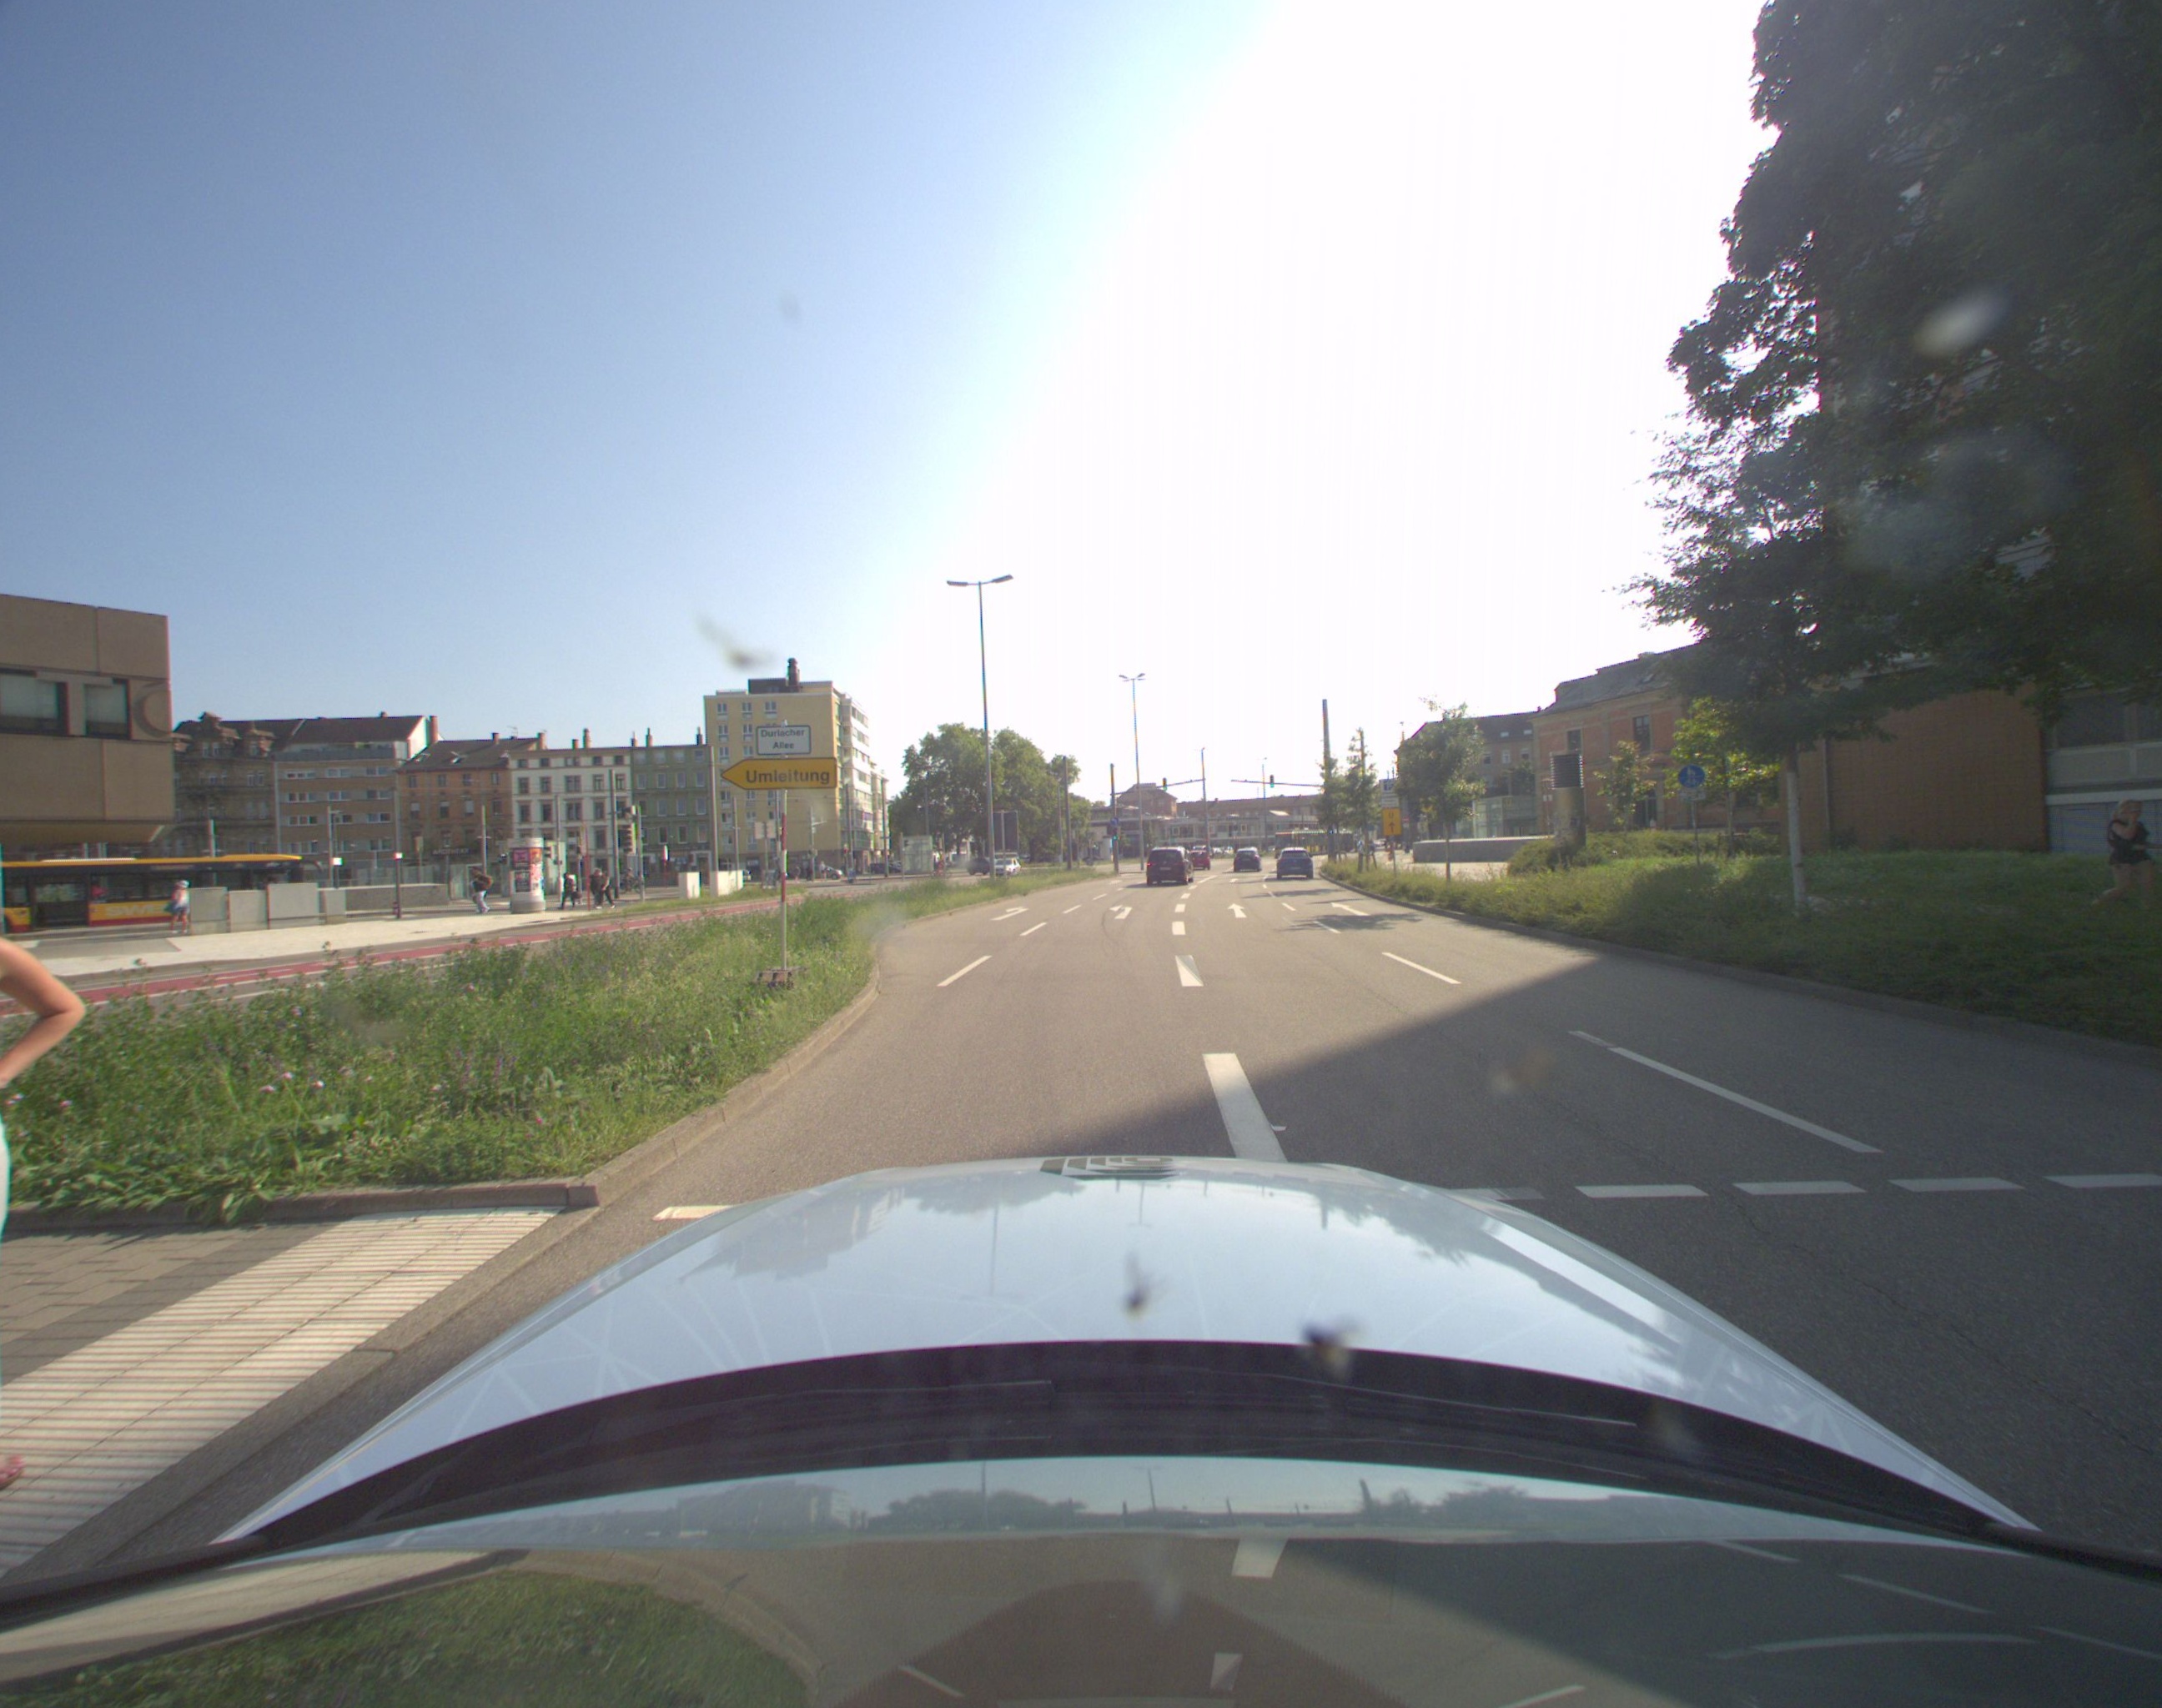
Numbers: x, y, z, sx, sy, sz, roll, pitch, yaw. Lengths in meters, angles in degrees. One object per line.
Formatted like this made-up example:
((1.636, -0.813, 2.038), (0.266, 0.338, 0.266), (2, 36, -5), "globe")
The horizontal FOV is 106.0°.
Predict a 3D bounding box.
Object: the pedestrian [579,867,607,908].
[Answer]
((-21.835, 1.500, 36.443), (0.774, 1.800, 0.702), (-3, 0, 5), "pedestrian")

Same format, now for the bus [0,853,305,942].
((-40.391, 1.743, 33.271), (2.681, 3.108, 12.292), (-3, 0, 40), "bus")

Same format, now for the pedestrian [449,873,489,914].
((-24.256, 1.565, 32.286), (0.977, 1.563, 0.871), (-3, 0, 26), "pedestrian")

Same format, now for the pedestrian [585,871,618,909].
((-20.746, 1.555, 35.246), (0.995, 1.559, 0.855), (-2, -1, -43), "pedestrian")

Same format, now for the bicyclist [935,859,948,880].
((-11.325, 1.284, 66.191), (0.878, 1.652, 0.726), (-2, 0, 1), "bicyclist")

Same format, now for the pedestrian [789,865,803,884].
((-26.695, 1.888, 76.276), (0.920, 1.690, 0.921), (-2, 0, -5), "pedestrian")

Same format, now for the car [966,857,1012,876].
((-8.619, 1.192, 76.111), (4.404, 1.617, 1.710), (-3, 0, 40), "car")

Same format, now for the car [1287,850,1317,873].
((15.061, 0.470, 55.592), (1.812, 1.428, 4.429), (-3, 0, 14), "car")

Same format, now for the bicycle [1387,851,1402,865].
((24.216, 0.301, 62.959), (0.712, 0.959, 1.934), (-3, 0, 31), "bicycle")

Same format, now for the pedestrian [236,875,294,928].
((-27.470, 1.593, 27.434), (0.984, 1.705, 0.866), (-3, 0, -1), "pedestrian")

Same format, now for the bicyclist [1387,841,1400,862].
((24.151, -0.194, 62.902), (0.712, 1.513, 1.011), (-3, 0, 31), "bicyclist")

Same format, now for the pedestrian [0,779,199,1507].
((-2.801, 0.668, 1.979), (0.660, 1.654, 0.784), (-3, 0, 37), "pedestrian")

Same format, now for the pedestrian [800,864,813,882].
((-25.610, 1.773, 76.084), (0.920, 1.690, 0.921), (-2, 0, -5), "pedestrian")

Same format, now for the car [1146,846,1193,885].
((4.201, 0.481, 38.097), (1.814, 1.714, 4.426), (-1, 0, 11), "car")

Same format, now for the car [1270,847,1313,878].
((10.854, 0.393, 42.301), (1.814, 1.428, 4.426), (-3, 0, 11), "car")

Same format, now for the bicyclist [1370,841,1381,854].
((38.346, -0.816, 105.994), (0.934, 1.680, 1.089), (-2, 0, -11), "bicyclist")

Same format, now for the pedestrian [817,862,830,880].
((-24.060, 1.581, 76.174), (0.920, 1.690, 0.921), (-2, 0, -5), "pedestrian")

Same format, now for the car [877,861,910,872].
((-25.688, 1.743, 111.672), (4.152, 1.354, 1.574), (-2, 0, -7), "car")

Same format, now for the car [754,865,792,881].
((-34.569, 2.137, 91.278), (4.492, 1.678, 2.013), (-2, 0, 41), "car")

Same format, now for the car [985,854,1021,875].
((-5.769, 0.786, 60.743), (1.804, 1.433, 4.232), (-3, 0, 6), "car")

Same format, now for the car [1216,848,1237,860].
((20.454, -0.038, 114.316), (1.599, 1.475, 4.024), (-5, -1, 27), "car")

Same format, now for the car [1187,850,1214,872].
((9.309, 0.484, 62.983), (1.814, 1.535, 4.426), (-3, 0, 11), "car")

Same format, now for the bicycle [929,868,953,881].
((-11.353, 1.662, 66.184), (1.806, 0.932, 0.726), (-2, 0, 1), "bicycle")

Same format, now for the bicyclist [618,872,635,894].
((-33.863, 2.162, 60.723), (0.791, 1.527, 0.726), (-2, 0, 1), "bicyclist")

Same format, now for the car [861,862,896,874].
((-26.228, 1.824, 105.410), (4.152, 1.354, 1.478), (-2, 0, -7), "car")

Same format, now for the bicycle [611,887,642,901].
((-33.885, 2.949, 60.716), (1.806, 0.932, 0.726), (-2, 0, 1), "bicycle")

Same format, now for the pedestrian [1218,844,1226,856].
((17.851, -0.556, 103.179), (0.770, 1.503, 0.714), (-3, 0, 25), "pedestrian")

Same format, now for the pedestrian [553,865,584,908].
((-21.832, 1.381, 34.691), (0.789, 1.800, 0.785), (-3, 0, 32), "pedestrian")

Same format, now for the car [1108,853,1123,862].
((6.229, 0.635, 147.830), (1.686, 1.522, 4.118), (-2, 0, 17), "car")

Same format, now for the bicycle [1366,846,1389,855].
((38.550, -0.457, 106.039), (2.620, 0.964, 1.089), (-2, 0, -12), "bicycle")

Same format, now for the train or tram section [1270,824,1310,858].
((24.953, -1.541, 96.885), (2.630, 3.699, 10.650), (-3, 0, 25), "train or tram section")

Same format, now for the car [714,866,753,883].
((-38.967, 2.290, 91.307), (4.491, 1.678, 2.013), (-2, 0, 37), "car")

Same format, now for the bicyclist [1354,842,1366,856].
((35.935, -0.622, 104.982), (0.934, 1.800, 1.089), (-2, 0, -11), "bicyclist")

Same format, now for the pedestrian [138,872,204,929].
((-28.187, 1.420, 25.235), (0.984, 1.672, 0.866), (-3, 0, -1), "pedestrian")

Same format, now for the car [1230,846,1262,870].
((11.481, 0.255, 56.428), (1.812, 1.535, 4.431), (-3, 0, 16), "car")

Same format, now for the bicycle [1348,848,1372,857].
((35.967, -0.201, 104.987), (2.620, 0.964, 1.089), (-2, 0, -12), "bicycle")

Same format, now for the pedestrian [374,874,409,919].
((-28.266, 1.728, 33.383), (0.774, 1.800, 0.702), (-3, 0, 5), "pedestrian")

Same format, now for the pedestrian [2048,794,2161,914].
((13.151, -0.011, 10.324), (0.720, 1.443, 0.859), (-2, 0, 9), "pedestrian")

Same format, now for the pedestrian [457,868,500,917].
((-22.945, 1.458, 31.025), (0.978, 1.770, 0.870), (-3, 0, 21), "pedestrian")

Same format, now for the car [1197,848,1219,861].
((16.907, 0.049, 108.084), (1.599, 1.475, 4.024), (-5, -1, 27), "car")
